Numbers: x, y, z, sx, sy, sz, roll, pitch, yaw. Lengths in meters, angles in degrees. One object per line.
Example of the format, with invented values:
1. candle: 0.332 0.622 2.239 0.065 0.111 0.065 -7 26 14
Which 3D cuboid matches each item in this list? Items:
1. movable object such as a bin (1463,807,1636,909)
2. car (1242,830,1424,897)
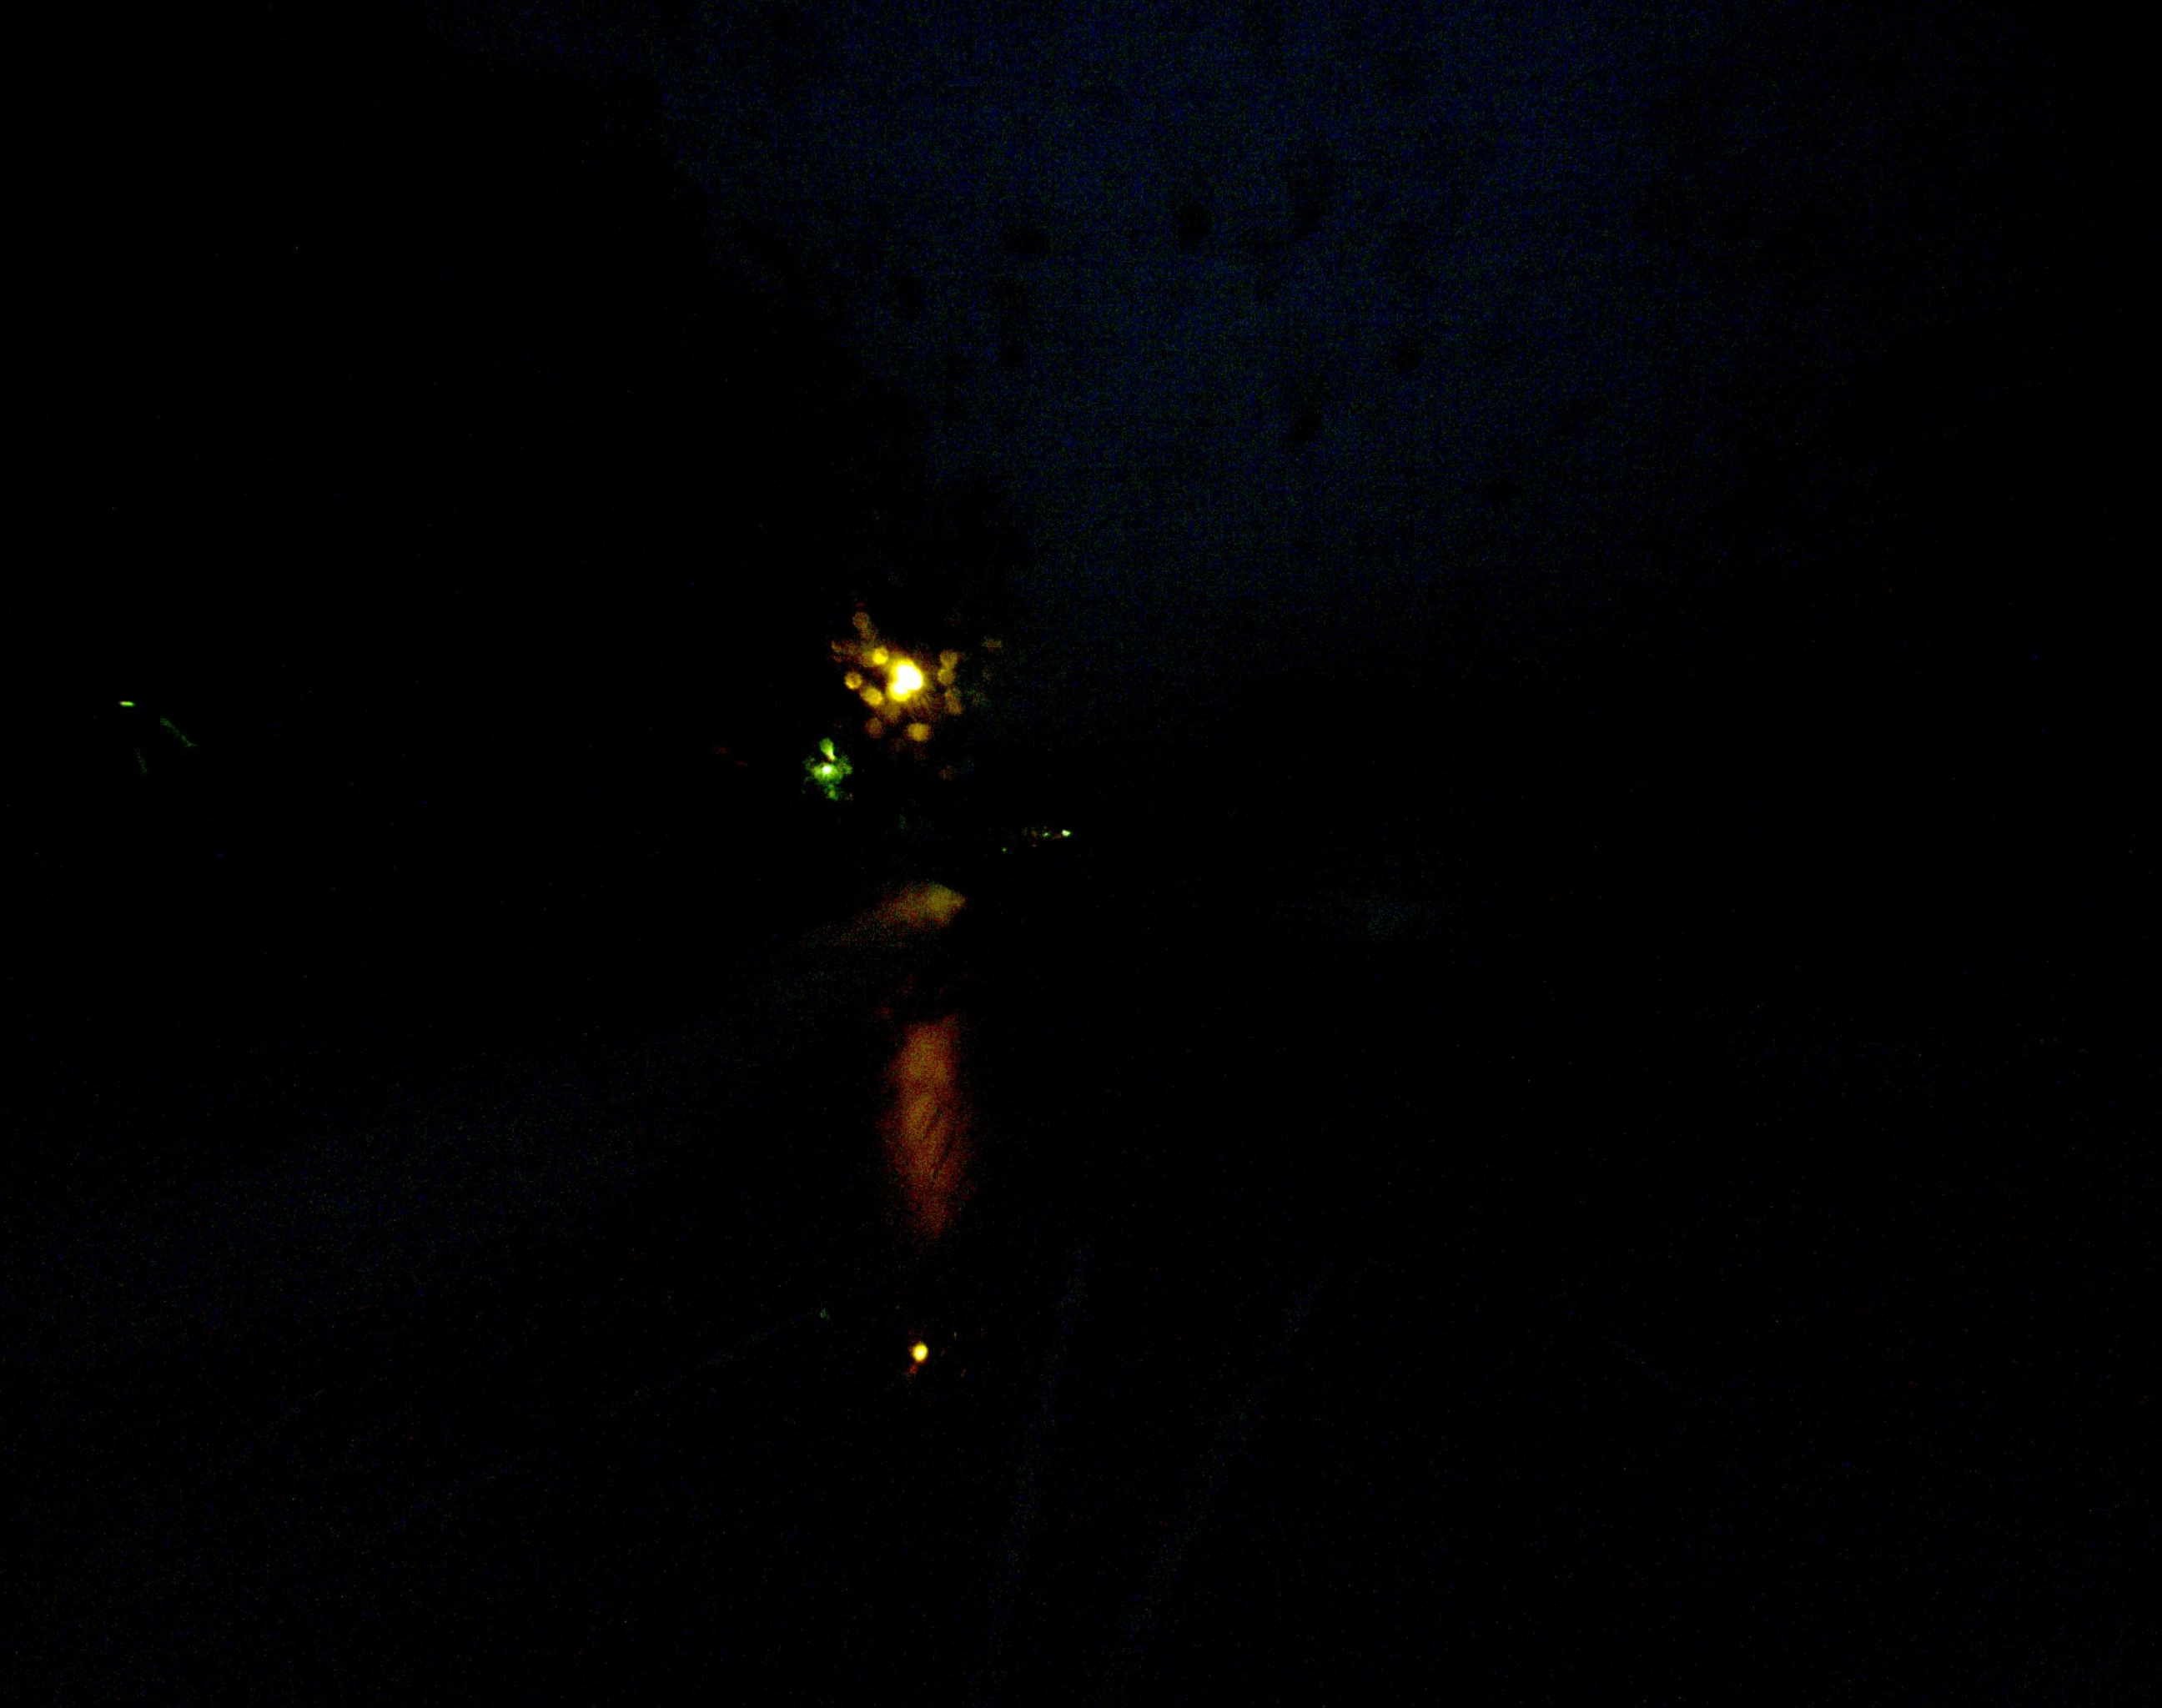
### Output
1. movable object such as a bin: 8.606 0.085 14.153 2.367 1.639 1.443 -5 0 17
2. car: 8.247 0.265 25.160 5.277 2.003 2.212 -1 3 -7
